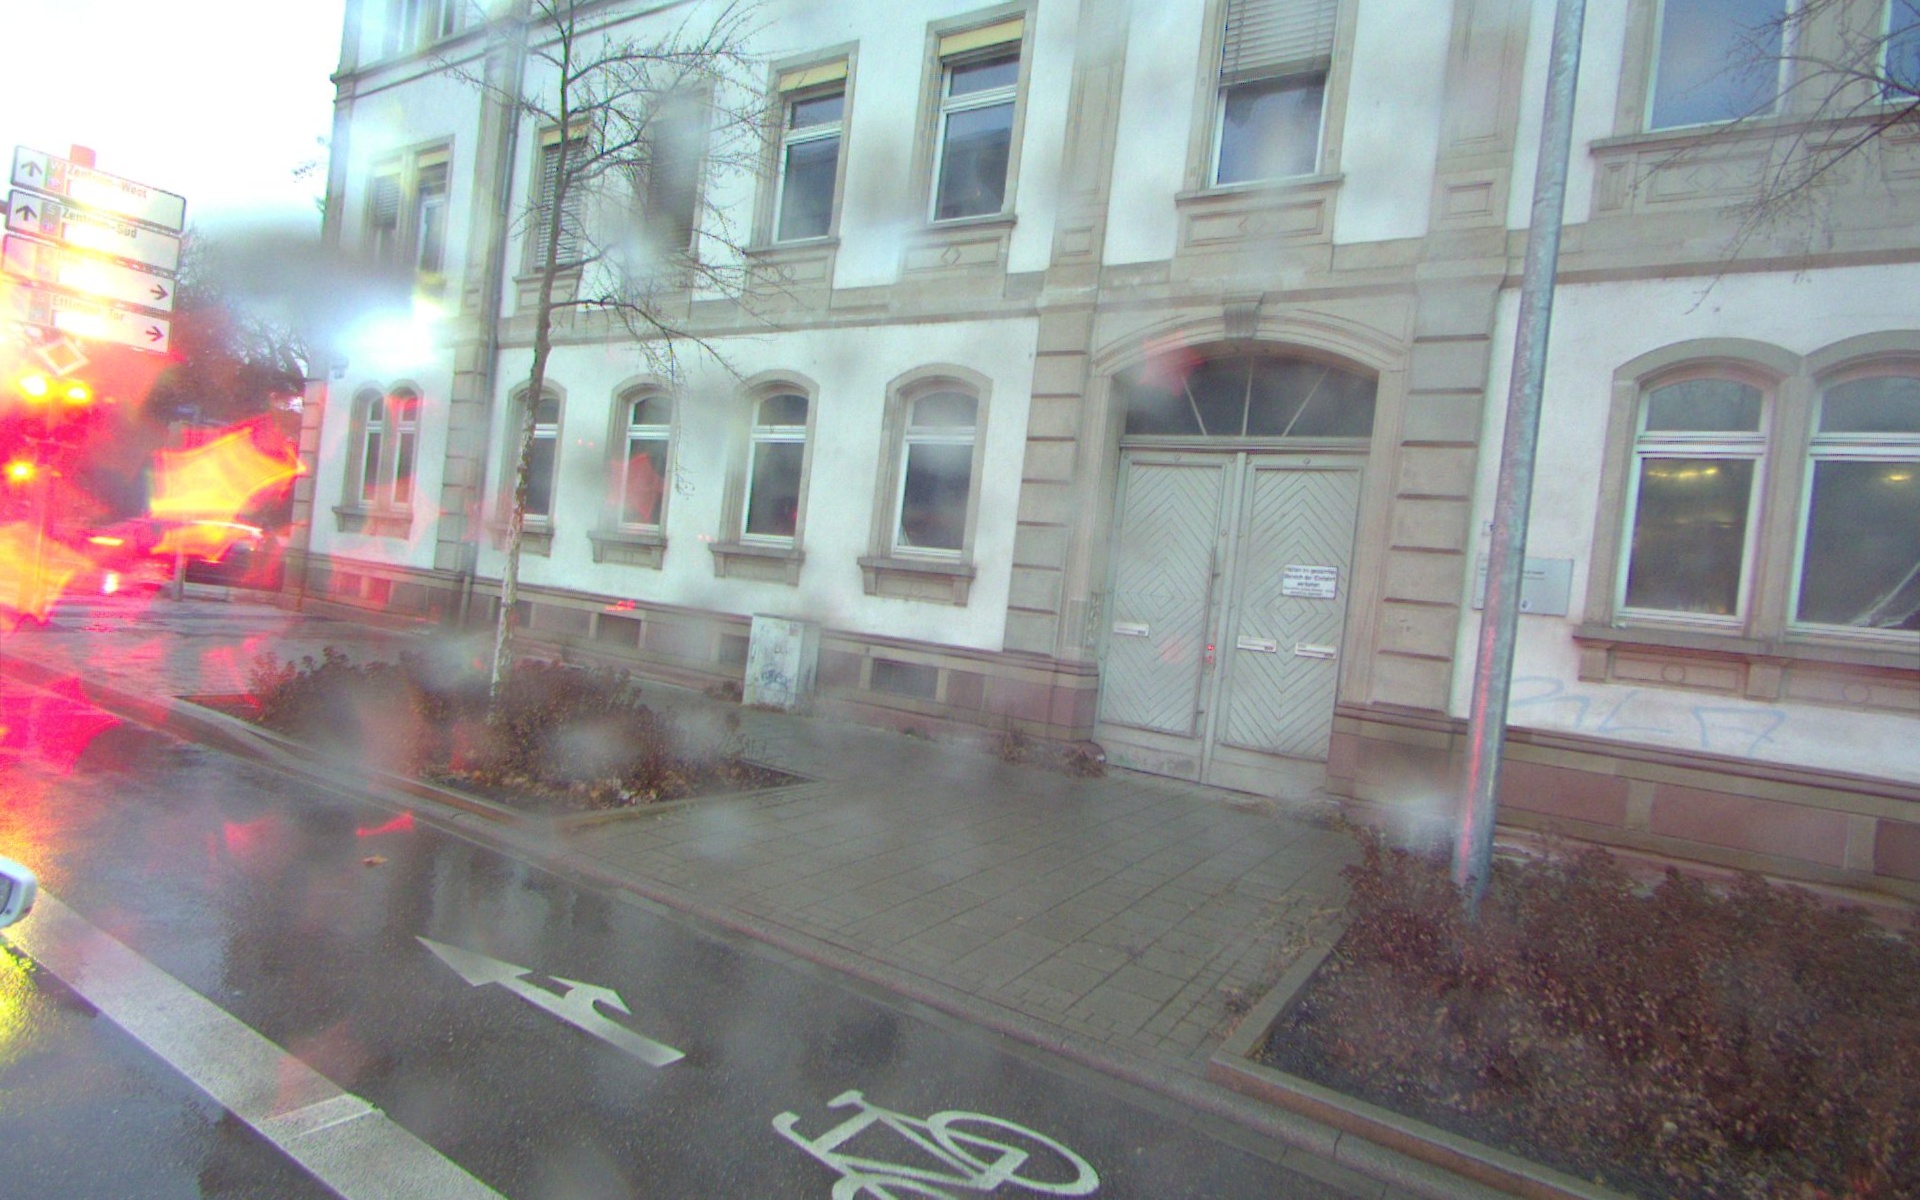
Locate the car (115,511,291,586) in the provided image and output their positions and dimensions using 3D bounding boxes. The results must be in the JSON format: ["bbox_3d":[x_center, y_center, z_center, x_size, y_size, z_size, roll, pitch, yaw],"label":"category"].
[{"bbox_3d":[-22.365,-1.476,29.881,3.936,1.571,1.733,9,-3,-36],"label":"car"}]

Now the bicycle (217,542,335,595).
[{"bbox_3d":[-19.530,-0.881,28.770,2.656,1.101,0.806,9,-3,-39],"label":"bicycle"}]

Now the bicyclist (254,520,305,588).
[{"bbox_3d":[-19.464,-1.311,28.784,0.968,1.778,0.805,8,-2,-39],"label":"bicyclist"}]

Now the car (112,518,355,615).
[{"bbox_3d":[-16.674,-0.725,23.287,4.293,1.547,1.745,9,-3,-38],"label":"car"}]
